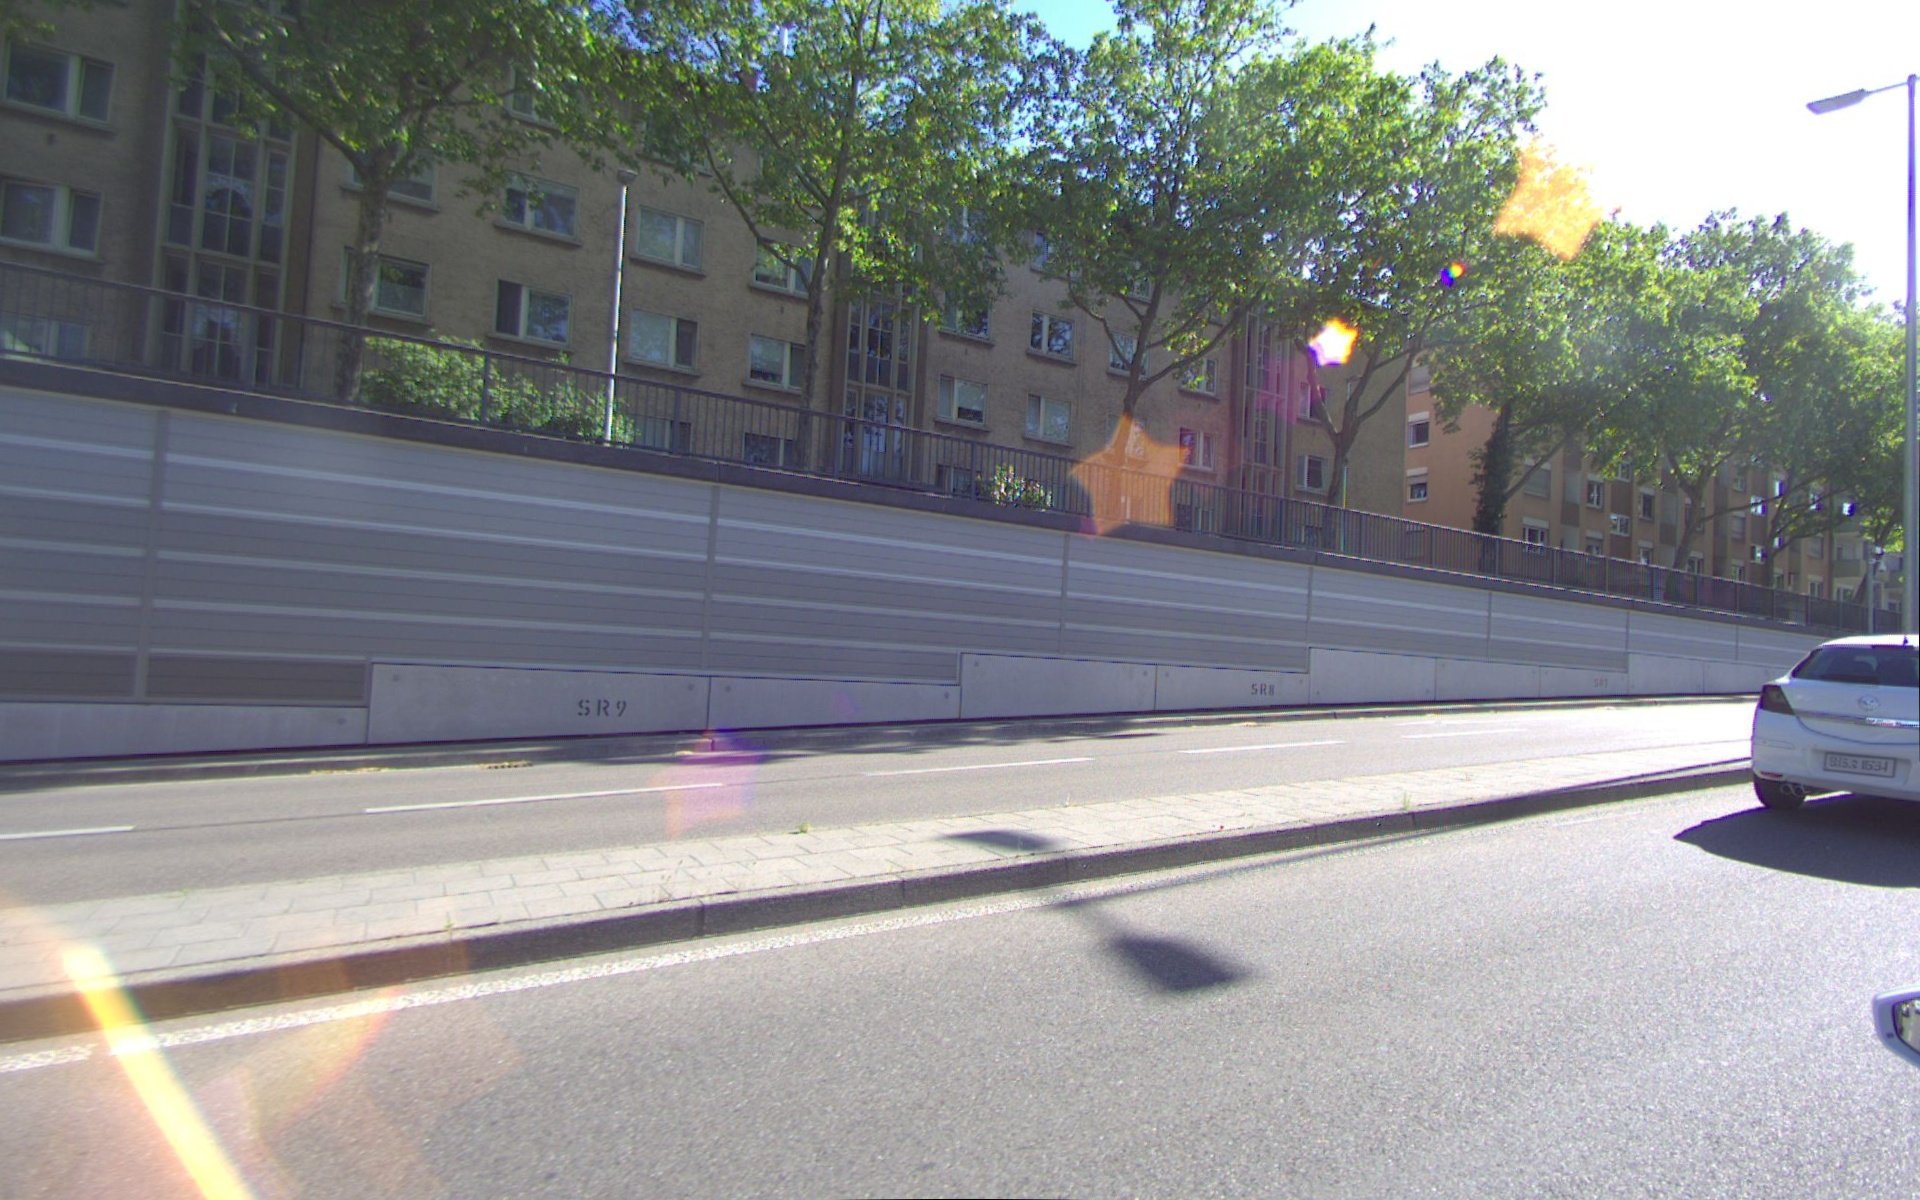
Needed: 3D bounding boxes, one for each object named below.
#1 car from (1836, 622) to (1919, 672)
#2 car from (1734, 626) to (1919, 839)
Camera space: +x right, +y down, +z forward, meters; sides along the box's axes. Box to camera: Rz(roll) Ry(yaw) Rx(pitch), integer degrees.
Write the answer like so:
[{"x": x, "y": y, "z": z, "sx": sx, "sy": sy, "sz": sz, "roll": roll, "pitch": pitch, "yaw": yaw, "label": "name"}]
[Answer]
[{"x": 49.806, "y": 2.552, "z": 54.274, "sx": 5.355, "sy": 2.390, "sz": 1.985, "roll": 4, "pitch": -2, "yaw": -29, "label": "car"}, {"x": 8.065, "y": 1.001, "z": 8.080, "sx": 3.807, "sy": 1.422, "sz": 1.611, "roll": 3, "pitch": -1, "yaw": -31, "label": "car"}]
